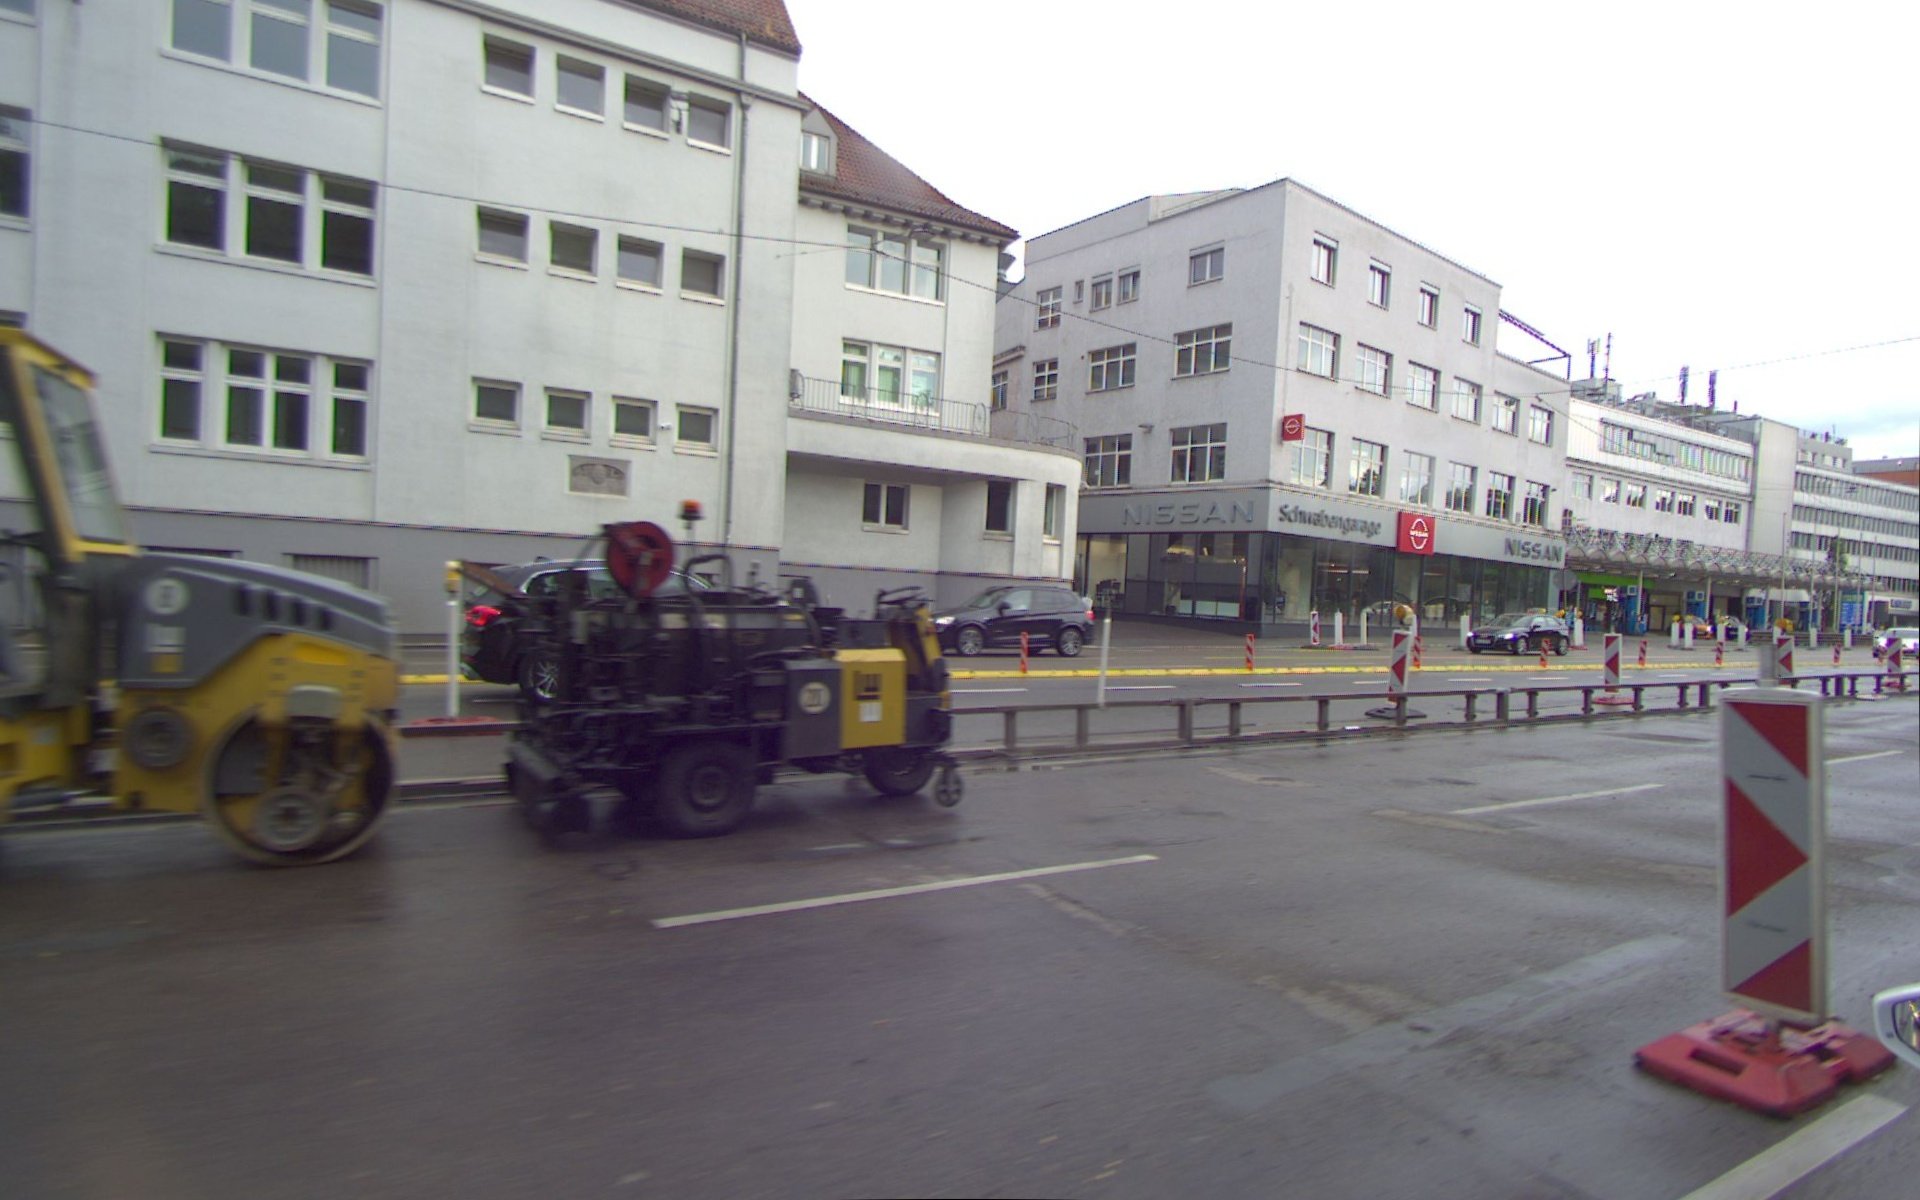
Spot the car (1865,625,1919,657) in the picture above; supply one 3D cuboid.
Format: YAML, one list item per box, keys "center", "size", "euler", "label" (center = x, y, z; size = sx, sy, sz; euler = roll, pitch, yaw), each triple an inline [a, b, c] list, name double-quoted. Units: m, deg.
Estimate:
- center: [45.012, 1.930, 47.928]
  size: [4.410, 1.400, 1.768]
  euler: [1, 0, -35]
  label: "car"

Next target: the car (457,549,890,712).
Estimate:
- center: [-3.553, 0.329, 12.642]
  size: [4.919, 1.729, 1.986]
  euler: [1, 2, -27]
  label: "car"

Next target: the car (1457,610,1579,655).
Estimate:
- center: [19.276, 1.139, 34.648]
  size: [4.201, 1.424, 1.753]
  euler: [2, 0, -30]
  label: "car"

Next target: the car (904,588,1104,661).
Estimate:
- center: [1.089, 0.569, 24.035]
  size: [4.504, 1.564, 1.825]
  euler: [1, 1, -30]
  label: "car"

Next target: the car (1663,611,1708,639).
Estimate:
- center: [51.277, 1.729, 71.063]
  size: [1.771, 1.677, 3.996]
  euler: [4, 2, 25]
  label: "car"

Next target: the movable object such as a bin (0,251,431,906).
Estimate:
- center: [-4.885, -0.098, 5.278]
  size: [3.678, 3.048, 1.459]
  euler: [1, 0, -29]
  label: "movable object such as a bin"

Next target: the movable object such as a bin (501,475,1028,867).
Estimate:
- center: [-1.367, 0.422, 7.180]
  size: [3.311, 2.178, 1.707]
  euler: [1, 0, -31]
  label: "movable object such as a bin"
